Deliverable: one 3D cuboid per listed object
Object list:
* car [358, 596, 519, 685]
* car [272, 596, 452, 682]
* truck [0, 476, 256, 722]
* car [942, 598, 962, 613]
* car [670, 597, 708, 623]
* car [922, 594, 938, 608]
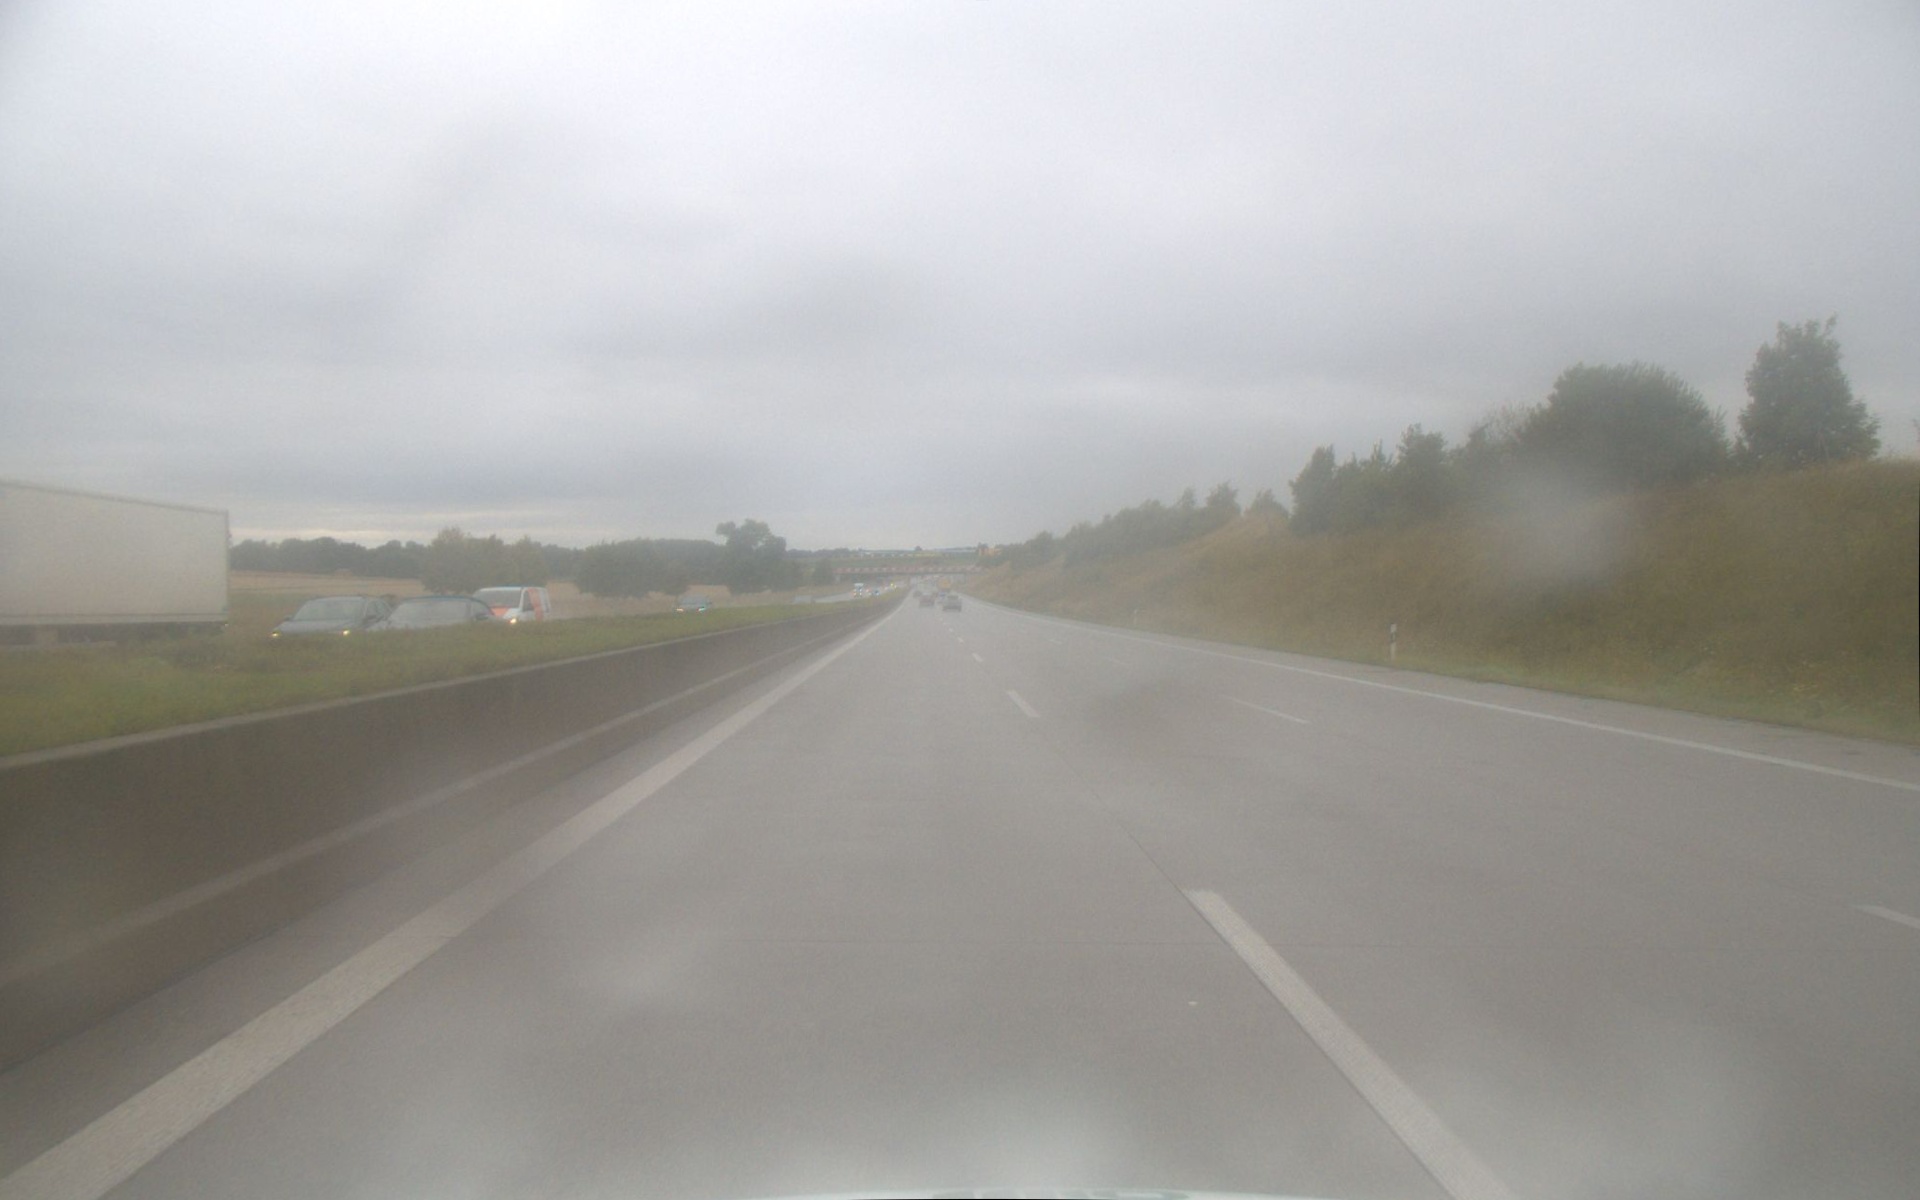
[{"bbox_3d":[-9.587,0.698,30.776,1.692,1.506,4.453,-1,0,-2],"label":"car"},{"bbox_3d":[-13.300,0.808,37.262,2.067,1.659,5.850,-1,1,-2],"label":"car"},{"bbox_3d":[-16.836,-0.083,30.265,2.844,3.923,12.447,0,1,-1],"label":"truck"},{"bbox_3d":[-0.824,0.555,164.887,1.811,1.354,4.428,1,2,-3],"label":"car"},{"bbox_3d":[-15.333,0.527,93.770,1.570,1.411,4.621,0,0,-3],"label":"car"},{"bbox_3d":[-3.407,0.091,187.816,1.694,1.354,4.429,1,2,-1],"label":"car"}]
